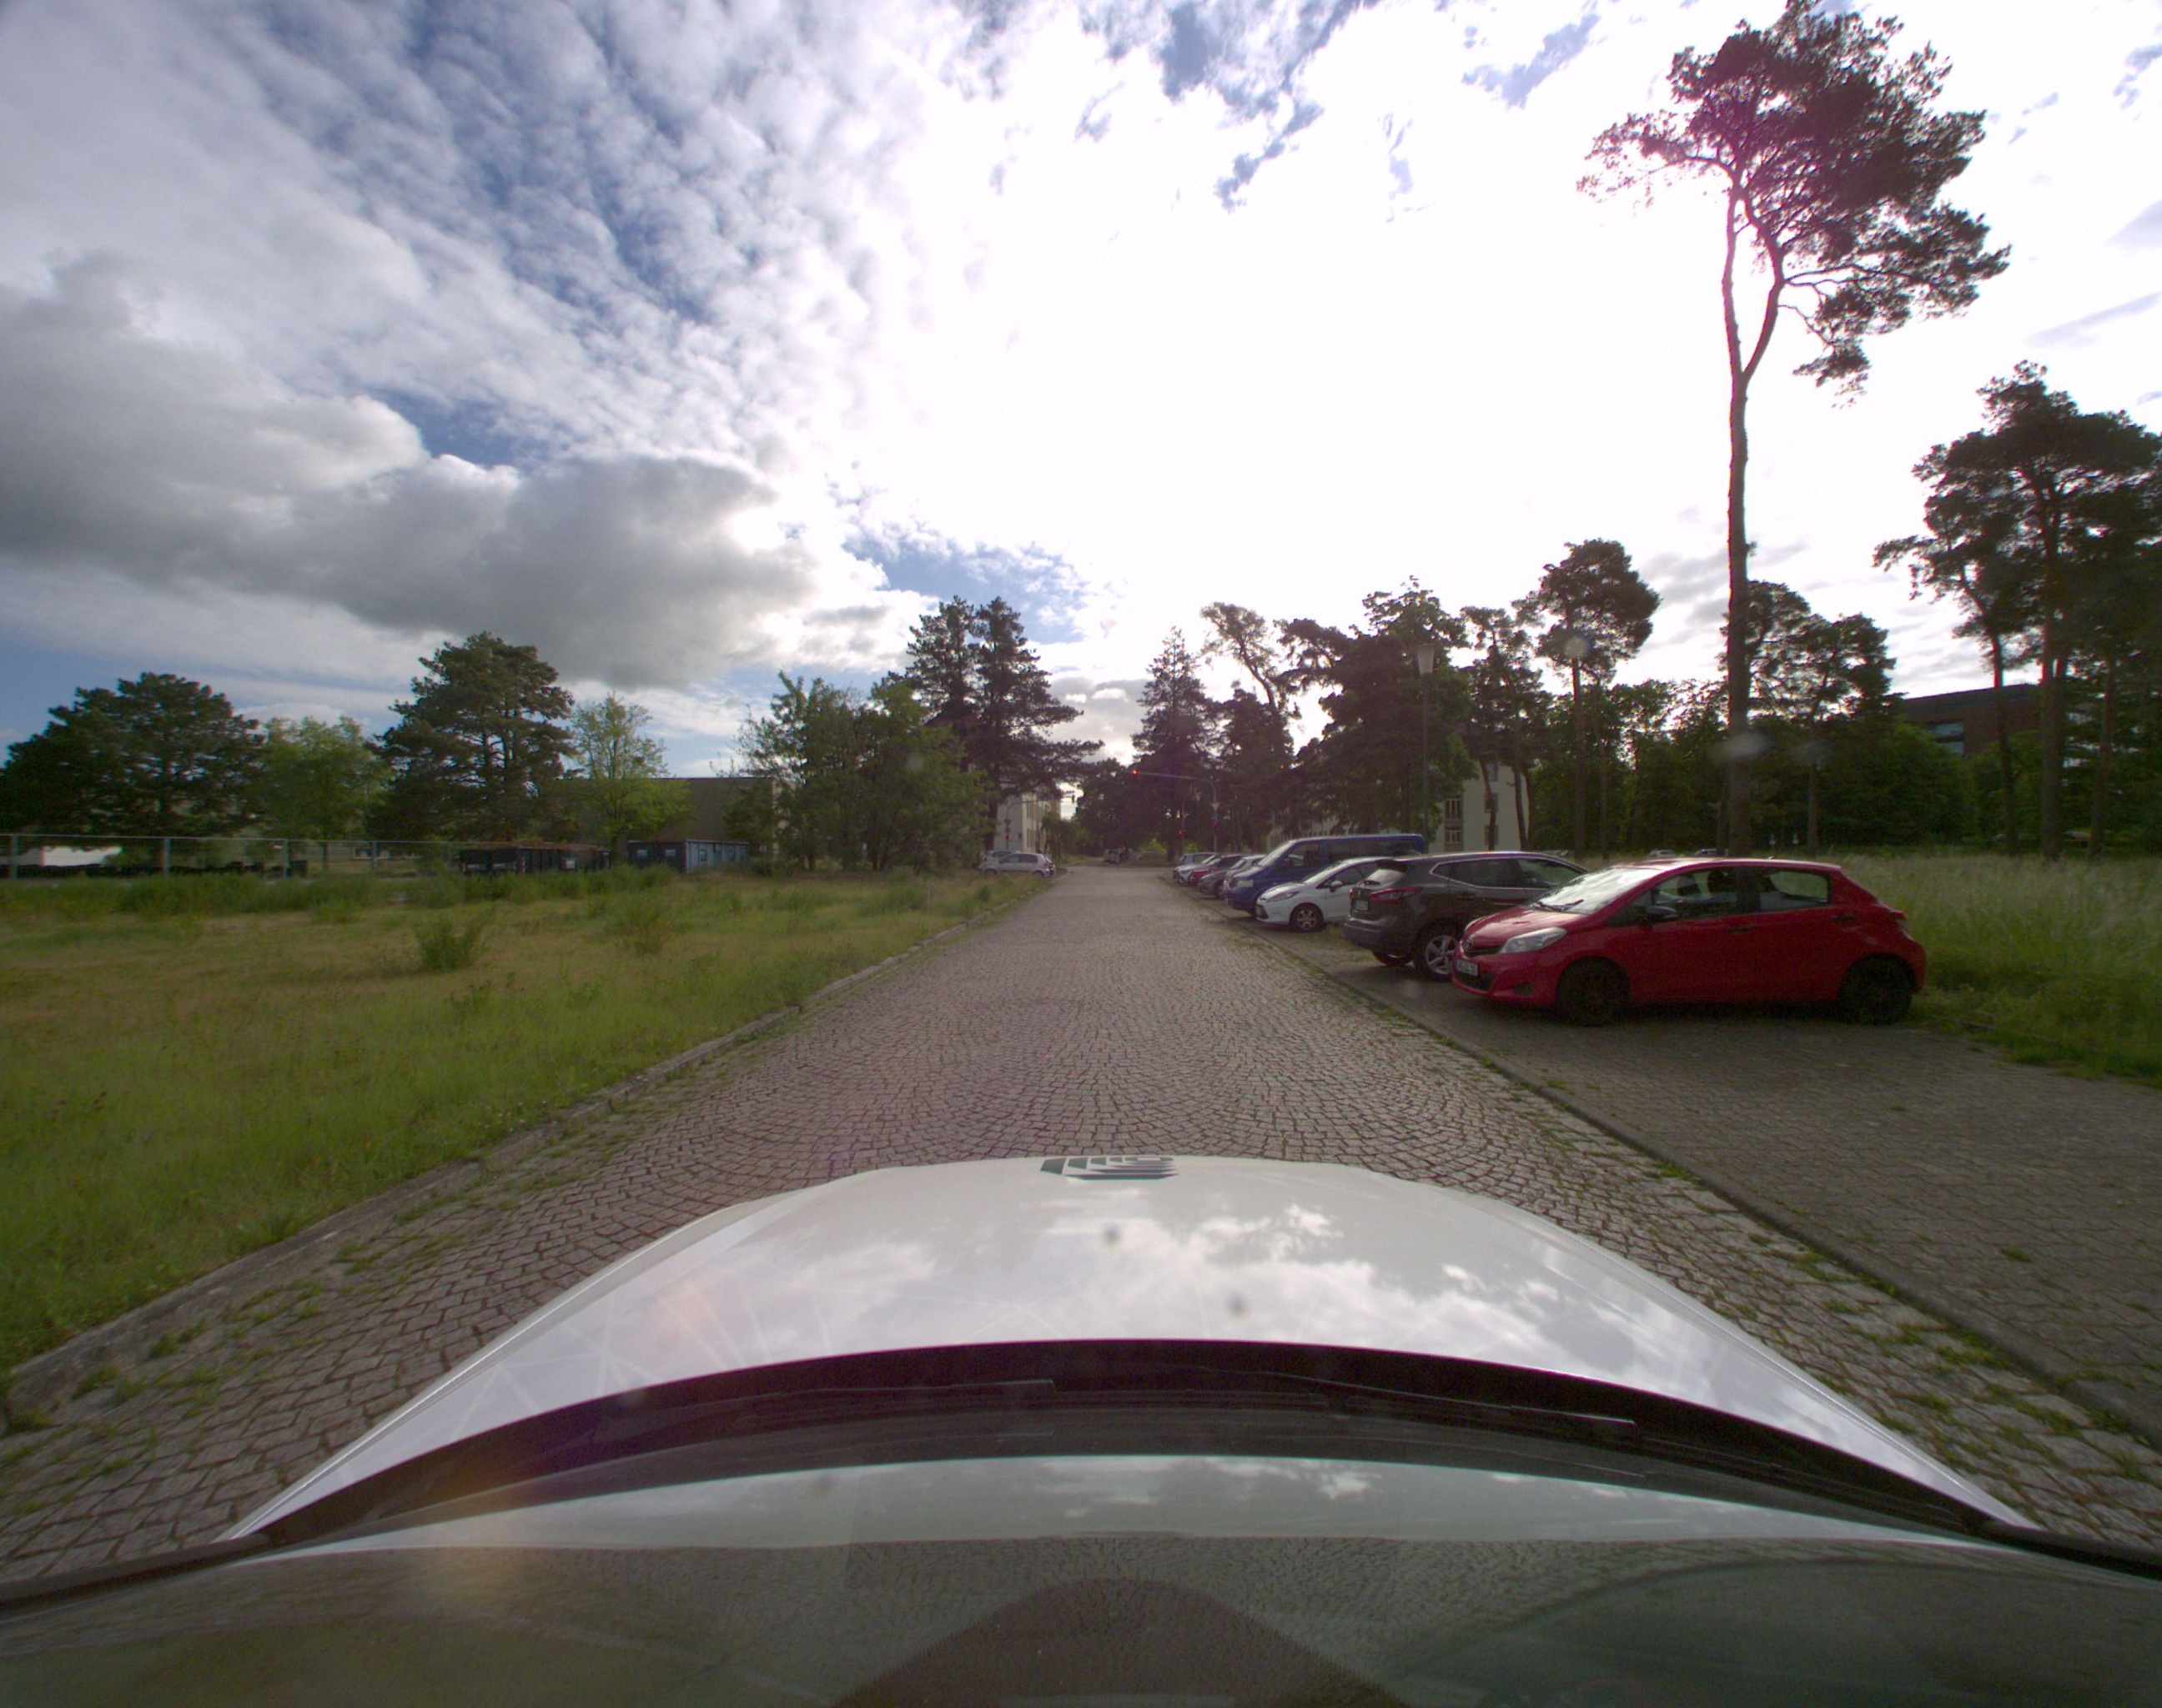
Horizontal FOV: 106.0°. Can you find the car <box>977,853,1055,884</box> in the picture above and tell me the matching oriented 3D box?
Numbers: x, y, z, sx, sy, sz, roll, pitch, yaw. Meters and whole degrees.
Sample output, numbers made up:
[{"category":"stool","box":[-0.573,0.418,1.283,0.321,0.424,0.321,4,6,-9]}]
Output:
[{"category":"car","box":[-3.408,0.724,42.879,3.979,1.552,1.997,0,0,-5]}]

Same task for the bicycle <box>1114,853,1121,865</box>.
[{"category":"bicycle","box":[3.988,0.524,88.758,0.806,1.268,1.975,0,0,3]}]

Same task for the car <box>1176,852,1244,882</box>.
[{"category":"car","box":[6.852,0.657,43.432,3.382,1.543,1.389,0,0,-4]}]

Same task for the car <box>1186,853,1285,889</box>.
[{"category":"car","box":[6.748,0.728,35.810,3.979,1.543,1.662,0,0,-4]}]

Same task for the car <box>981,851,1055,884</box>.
[{"category":"car","box":[-3.484,0.729,45.371,3.979,1.706,1.997,0,0,-5]}]

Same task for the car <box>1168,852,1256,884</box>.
[{"category":"car","box":[6.528,0.696,40.868,4.114,1.543,1.662,0,0,-4]}]

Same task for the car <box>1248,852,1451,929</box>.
[{"category":"car","box":[5.556,0.735,17.147,3.711,1.424,1.654,-2,0,-1]}]

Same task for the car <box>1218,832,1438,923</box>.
[{"category":"car","box":[5.837,0.534,19.611,4.767,2.039,1.738,0,0,-1]}]

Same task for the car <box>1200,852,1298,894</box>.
[{"category":"car","box":[6.320,0.698,30.855,3.291,1.504,1.659,0,0,-9]}]

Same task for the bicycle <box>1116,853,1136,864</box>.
[{"category":"bicycle","box":[5.208,0.486,94.292,2.157,1.268,0.811,0,0,-5]}]

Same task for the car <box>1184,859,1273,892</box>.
[{"category":"car","box":[6.045,0.863,33.579,3.286,1.267,1.662,0,0,-4]}]

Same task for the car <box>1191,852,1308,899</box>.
[{"category":"car","box":[5.741,0.710,27.989,3.596,1.506,1.659,-1,0,-9]}]

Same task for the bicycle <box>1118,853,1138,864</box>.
[{"category":"bicycle","box":[5.398,0.479,93.073,2.157,1.268,0.811,0,0,-5]}]

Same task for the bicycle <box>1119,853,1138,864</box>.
[{"category":"bicycle","box":[5.380,0.474,92.485,2.157,1.268,0.811,0,0,-5]}]

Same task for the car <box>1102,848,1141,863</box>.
[{"category":"car","box":[5.484,0.214,110.321,5.048,2.013,1.994,0,0,-9]}]

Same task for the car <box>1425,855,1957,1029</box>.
[{"category":"car","box":[5.754,0.785,8.078,3.972,1.518,1.739,0,0,1]}]

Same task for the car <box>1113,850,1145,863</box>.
[{"category":"car","box":[6.322,0.334,107.020,3.979,1.644,1.997,0,0,-4]}]

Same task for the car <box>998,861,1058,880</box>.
[{"category":"car","box":[-3.265,1.013,50.667,3.664,1.094,1.644,0,0,-5]}]

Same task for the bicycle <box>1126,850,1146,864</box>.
[{"category":"bicycle","box":[6.352,0.324,93.760,2.157,1.616,0.811,0,0,-5]}]

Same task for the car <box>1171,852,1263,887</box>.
[{"category":"car","box":[6.323,0.715,38.112,3.979,1.543,1.662,0,0,-4]}]

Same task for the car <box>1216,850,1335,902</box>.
[{"category":"car","box":[5.957,0.651,25.158,3.282,1.504,1.664,0,0,0]}]

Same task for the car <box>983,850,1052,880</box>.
[{"category":"car","box":[-3.771,0.642,48.341,3.981,1.750,1.923,0,0,-5]}]

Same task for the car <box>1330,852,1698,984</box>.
[{"category":"car","box":[5.497,0.773,10.714,3.937,1.580,1.762,0,0,0]}]
